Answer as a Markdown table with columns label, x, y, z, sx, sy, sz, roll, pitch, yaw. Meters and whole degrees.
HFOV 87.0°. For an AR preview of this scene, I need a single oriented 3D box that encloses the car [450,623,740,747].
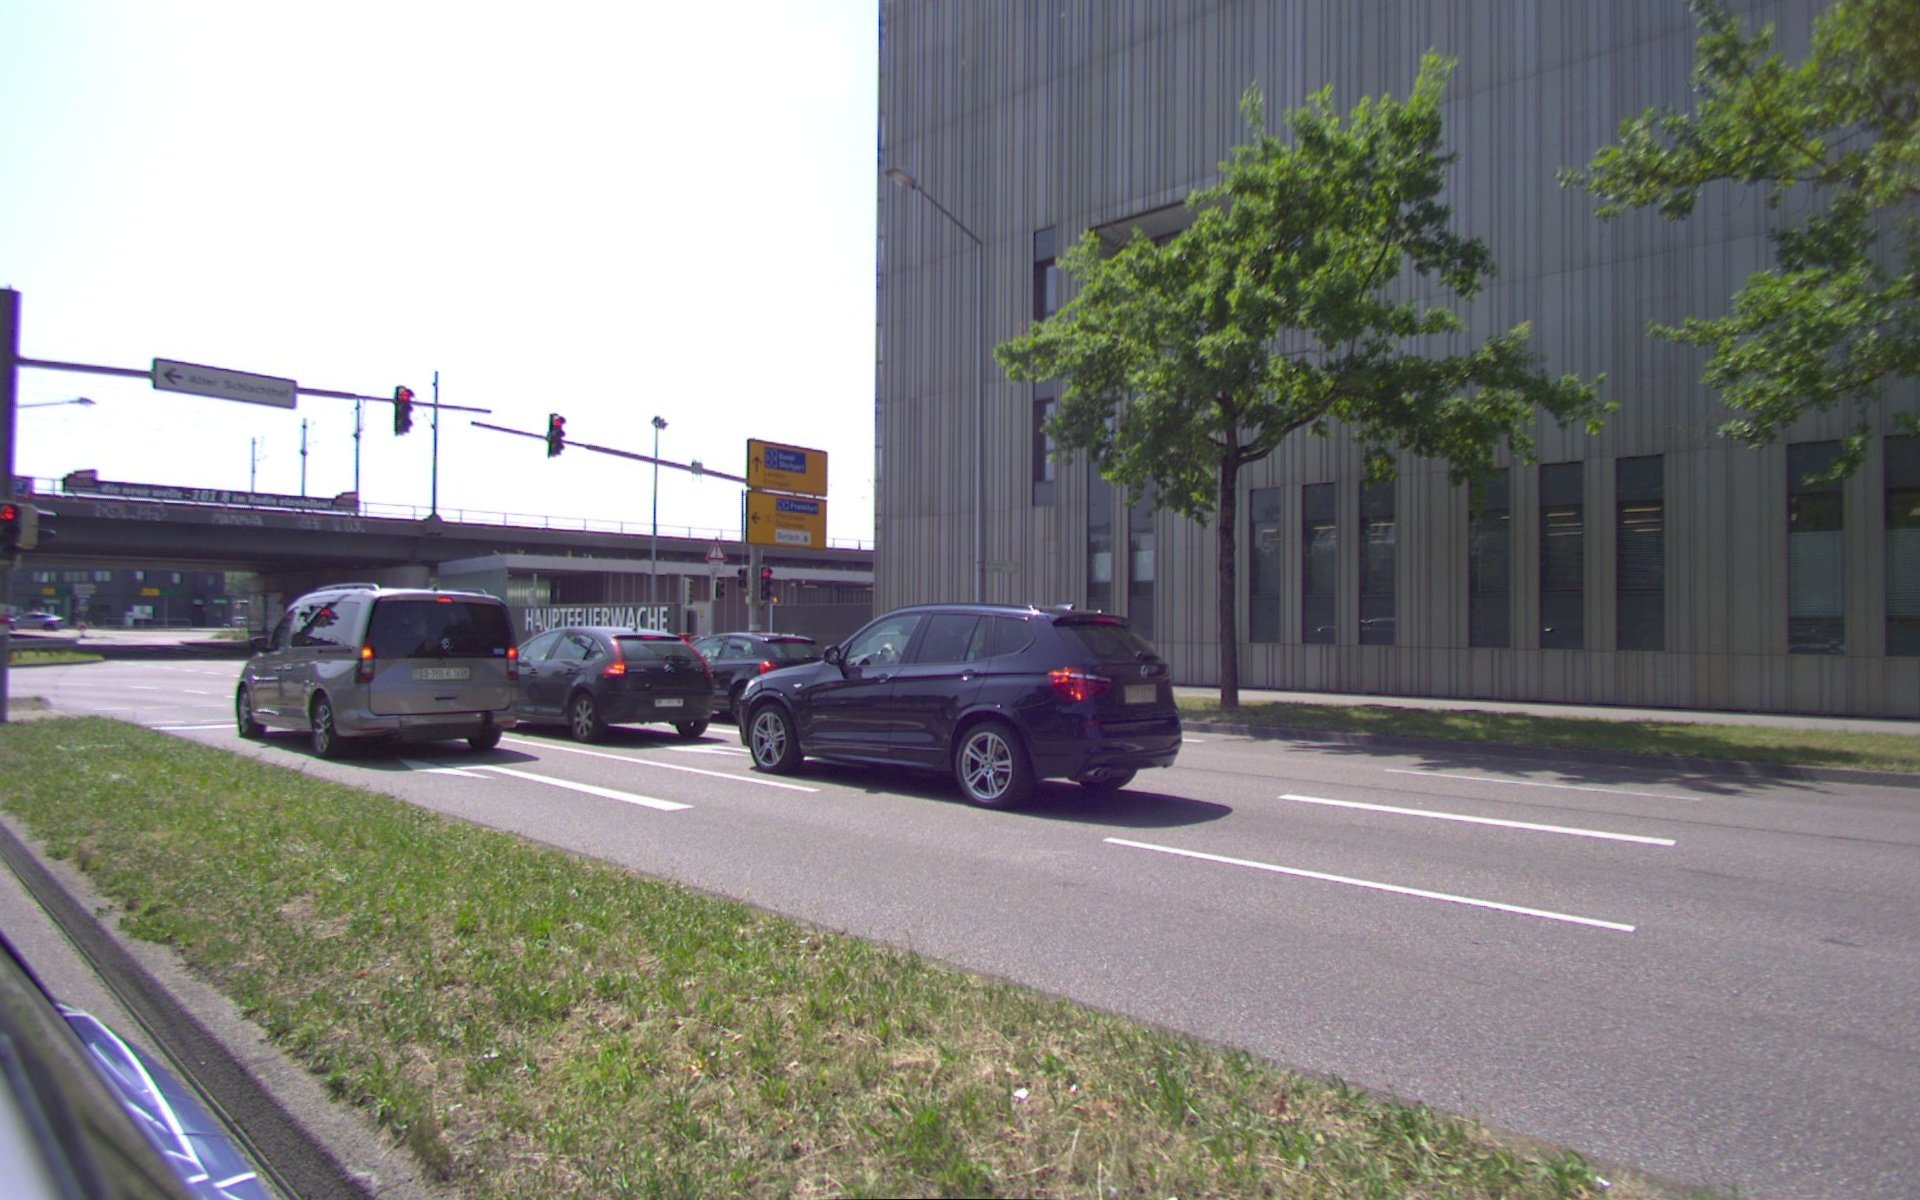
| label | x | y | z | sx | sy | sz | roll | pitch | yaw |
| --- | --- | --- | --- | --- | --- | --- | --- | --- | --- |
| car | -5.098 | 1.066 | 13.885 | 4.246 | 1.457 | 1.792 | -1 | -3 | 39 |

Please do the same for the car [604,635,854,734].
| label | x | y | z | sx | sy | sz | roll | pitch | yaw |
| --- | --- | --- | --- | --- | --- | --- | --- | --- | --- |
| car | -3.900 | 1.302 | 16.764 | 4.246 | 1.428 | 1.792 | -1 | -3 | 39 |

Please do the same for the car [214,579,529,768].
| label | x | y | z | sx | sy | sz | roll | pitch | yaw |
| --- | --- | --- | --- | --- | --- | --- | --- | --- | --- |
| car | -7.095 | 0.799 | 11.979 | 4.712 | 1.815 | 1.791 | -2 | -4 | 42 |

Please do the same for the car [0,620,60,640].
| label | x | y | z | sx | sy | sz | roll | pitch | yaw |
| --- | --- | --- | --- | --- | --- | --- | --- | --- | --- |
| car | -79.673 | 2.576 | 86.418 | 3.932 | 1.697 | 2.006 | 1 | -2 | -32 |

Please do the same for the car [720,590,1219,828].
| label | x | y | z | sx | sy | sz | roll | pitch | yaw |
| --- | --- | --- | --- | --- | --- | --- | --- | --- | --- |
| car | -0.107 | 0.848 | 9.366 | 4.570 | 1.676 | 1.783 | -1 | -3 | 41 |
